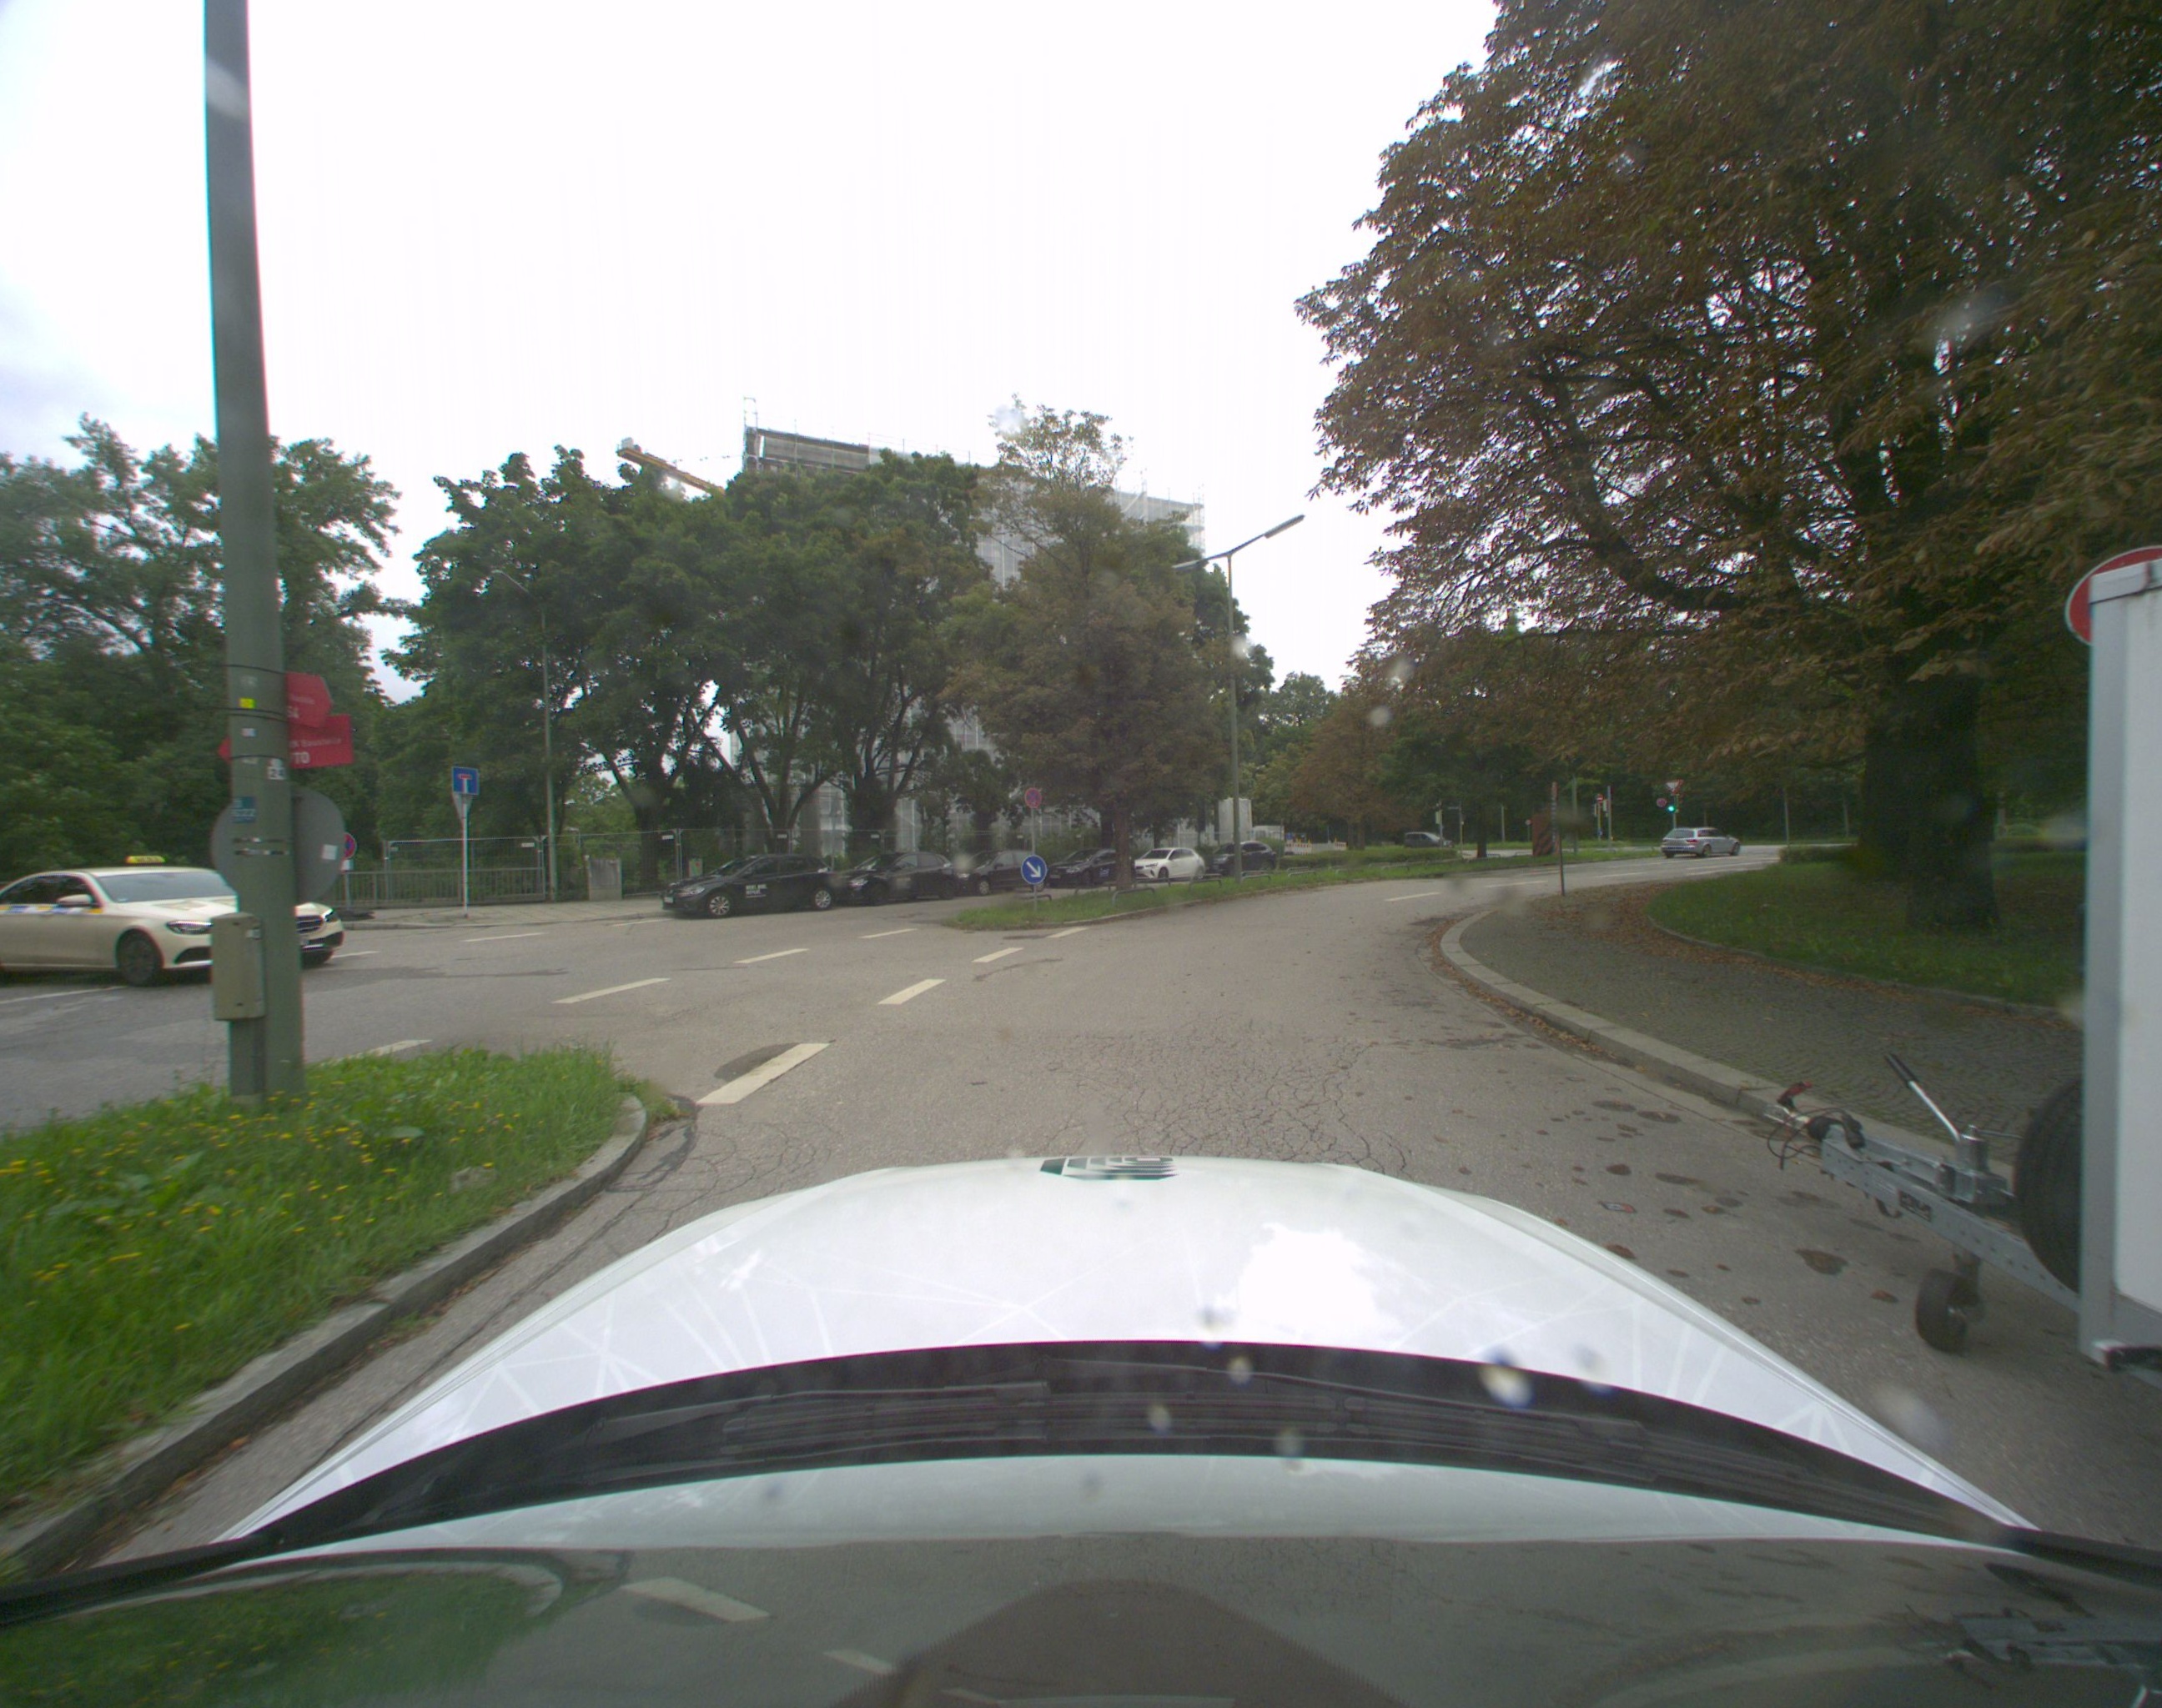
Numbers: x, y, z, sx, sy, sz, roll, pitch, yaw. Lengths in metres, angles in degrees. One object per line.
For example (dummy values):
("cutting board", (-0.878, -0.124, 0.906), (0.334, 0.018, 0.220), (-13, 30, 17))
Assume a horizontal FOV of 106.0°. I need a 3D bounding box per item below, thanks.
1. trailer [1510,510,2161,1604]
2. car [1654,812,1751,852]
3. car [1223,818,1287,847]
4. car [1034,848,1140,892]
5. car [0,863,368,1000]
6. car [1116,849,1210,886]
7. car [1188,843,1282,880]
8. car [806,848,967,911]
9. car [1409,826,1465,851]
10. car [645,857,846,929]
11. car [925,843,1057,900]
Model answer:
("trailer", (2.874, 0.356, 1.479), (1.801, 2.013, 4.838), (-2, 0, 3))
("car", (29.870, -1.074, 39.168), (4.131, 1.750, 1.984), (-2, 0, -25))
("car", (22.537, -2.725, 106.013), (3.103, 3.448, 8.637), (-2, 0, -29))
("car", (0.297, 0.582, 30.714), (1.816, 1.461, 4.031), (-2, 0, 39))
("car", (-12.507, 0.984, 10.915), (4.804, 1.545, 1.900), (-2, 0, 12))
("car", (3.524, 0.549, 34.347), (1.779, 1.383, 4.244), (-2, 0, 42))
("car", (7.161, 0.339, 37.590), (4.419, 1.606, 1.869), (0, -2, -40))
("car", (-5.412, 0.676, 23.089), (1.974, 1.541, 4.026), (-2, 0, 39))
("car", (30.624, -1.350, 70.166), (2.007, 2.013, 3.960), (-2, 0, -32))
("car", (-8.036, 0.856, 19.792), (1.974, 1.432, 4.068), (0, 2, 40))
("car", (-2.889, 0.535, 26.821), (1.974, 1.706, 4.025), (-2, 0, 39))
